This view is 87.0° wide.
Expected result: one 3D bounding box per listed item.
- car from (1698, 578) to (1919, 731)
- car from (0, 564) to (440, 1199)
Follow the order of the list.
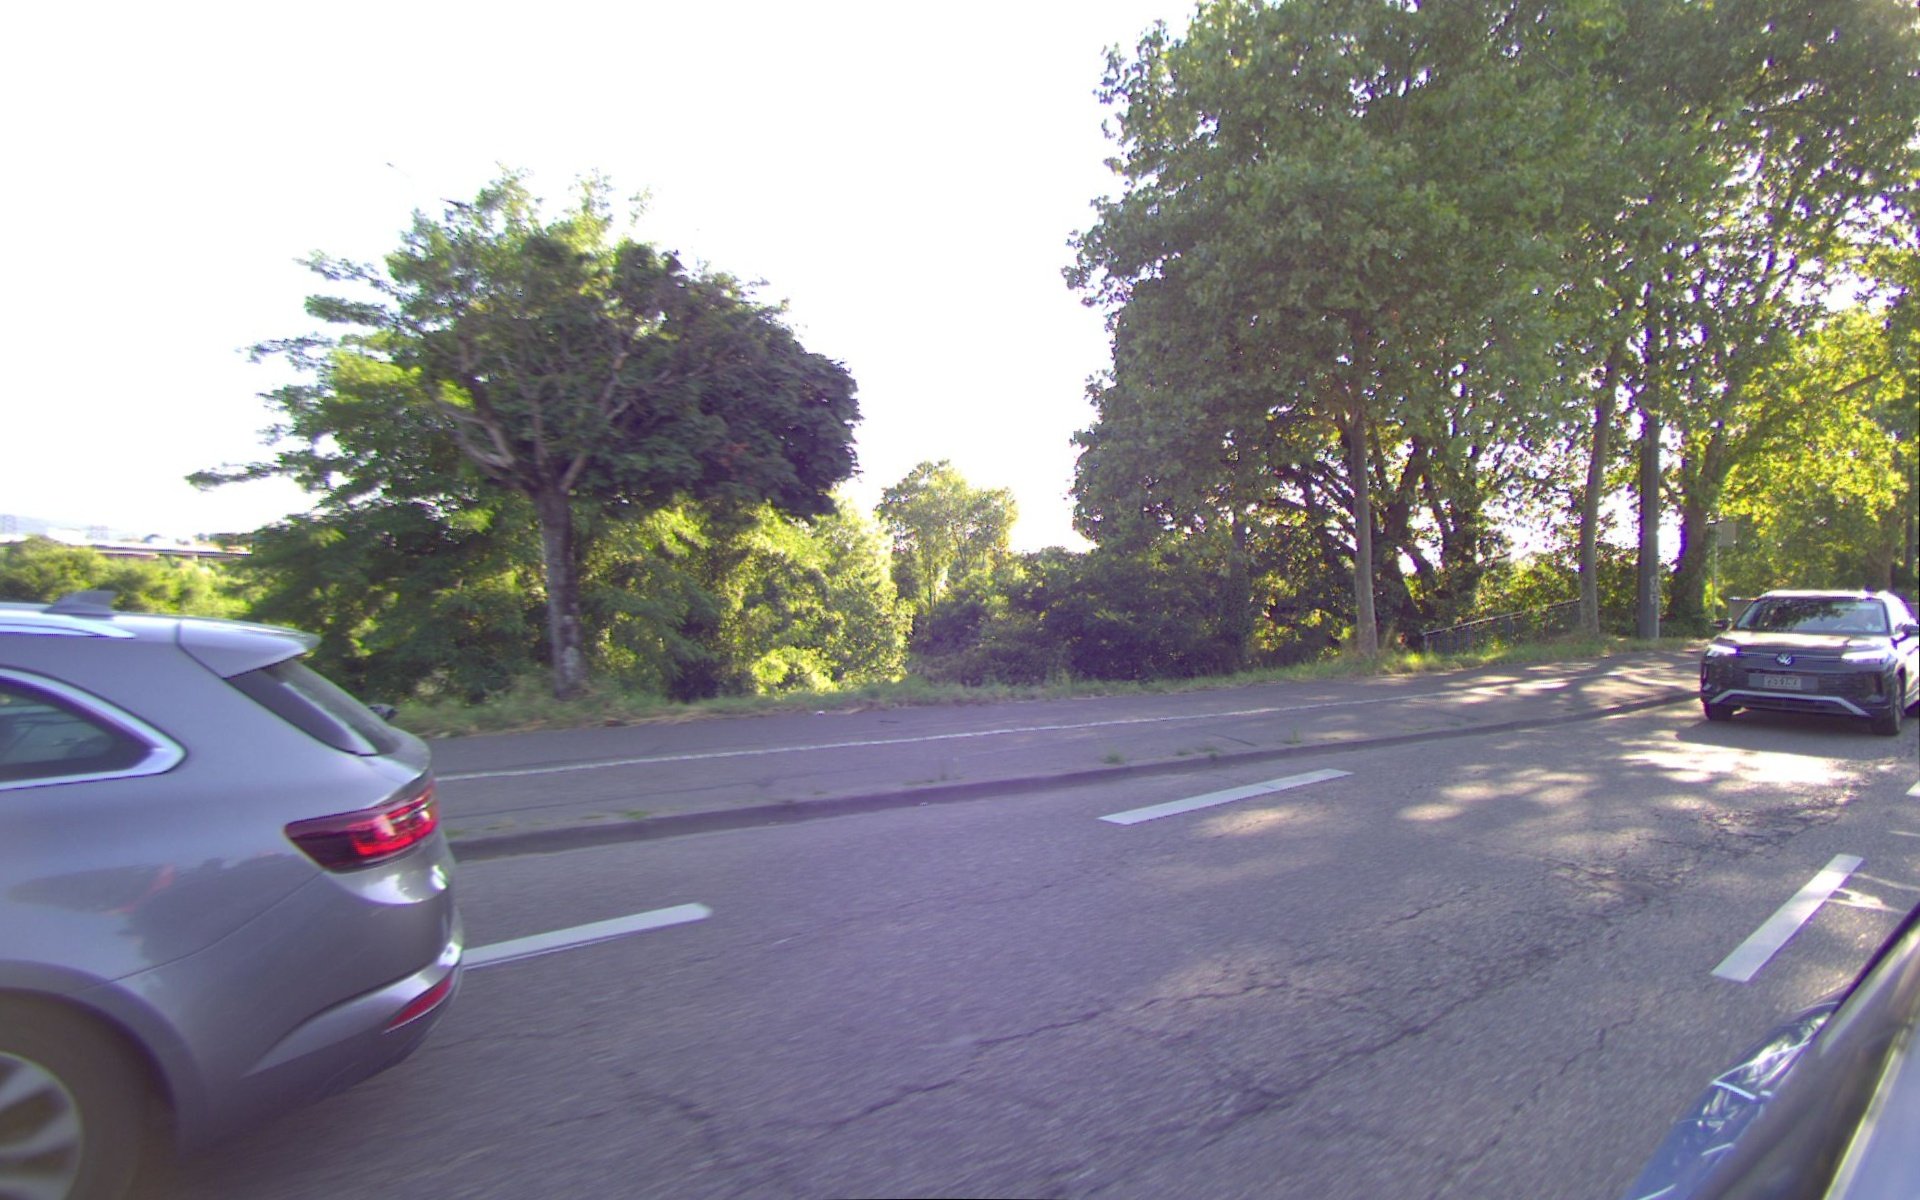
[{"bbox_3d":[11.181,0.544,12.895,4.338,1.620,1.880,-1,1,-40],"label":"car"},{"bbox_3d":[-3.651,0.675,1.802,4.576,1.461,1.881,-1,1,-39],"label":"car"}]
